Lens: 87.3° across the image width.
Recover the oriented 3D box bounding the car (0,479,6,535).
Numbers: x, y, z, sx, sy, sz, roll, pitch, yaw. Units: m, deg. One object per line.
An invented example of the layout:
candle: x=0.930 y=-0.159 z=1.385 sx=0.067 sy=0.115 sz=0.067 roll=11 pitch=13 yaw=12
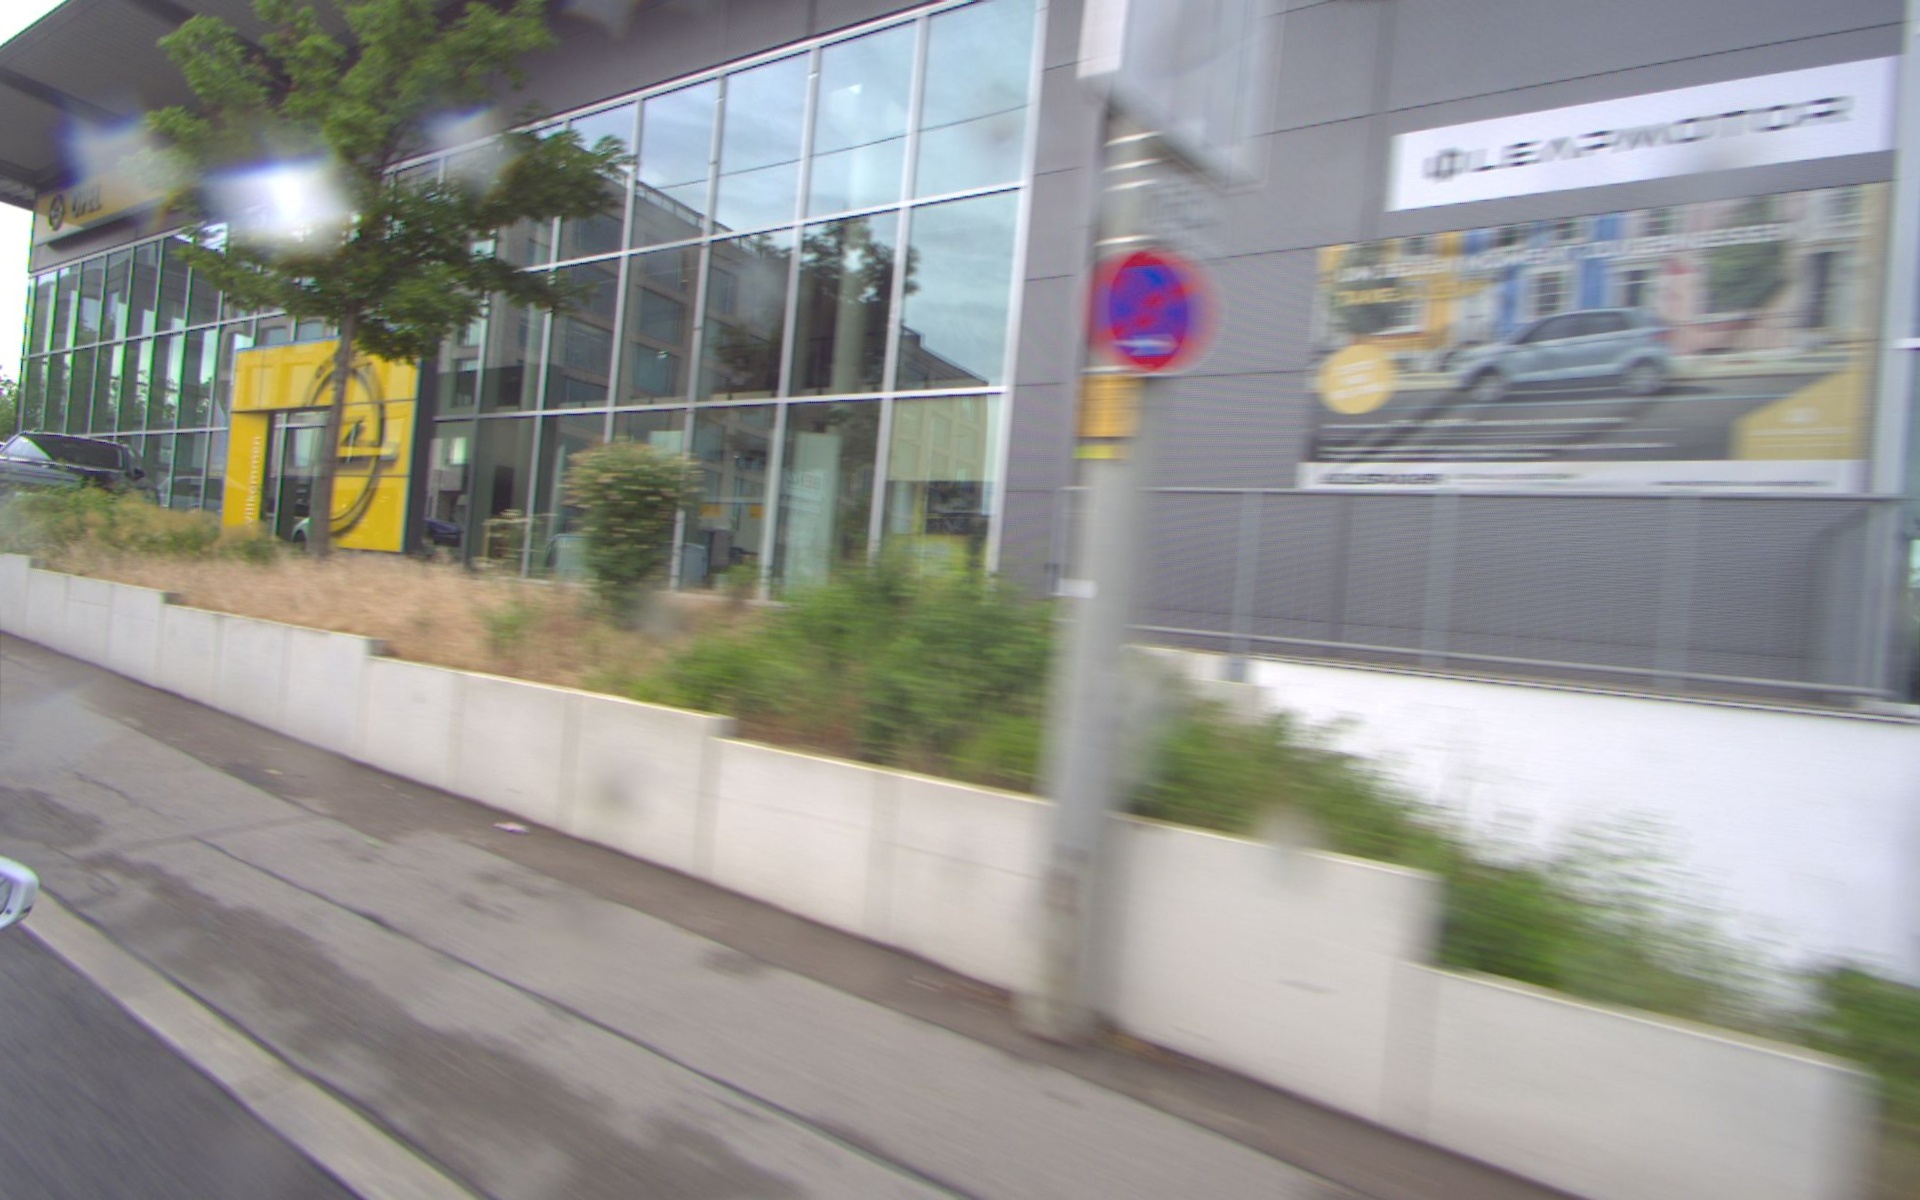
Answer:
car: x=-26.078 y=-2.550 z=24.506 sx=1.883 sy=1.472 sz=4.510 roll=5 pitch=0 yaw=-10

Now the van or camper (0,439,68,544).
van or camper: x=-28.845 y=-3.410 z=27.744 sx=2.313 sy=2.755 sz=5.748 roll=7 pitch=-2 yaw=32

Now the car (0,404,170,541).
car: x=-14.338 y=-1.945 z=16.160 sx=1.978 sy=1.732 sz=4.393 roll=5 pitch=0 yaw=-31

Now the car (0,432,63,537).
car: x=-18.363 y=-2.172 z=18.610 sx=1.980 sy=1.732 sz=4.536 roll=5 pitch=0 yaw=-35
